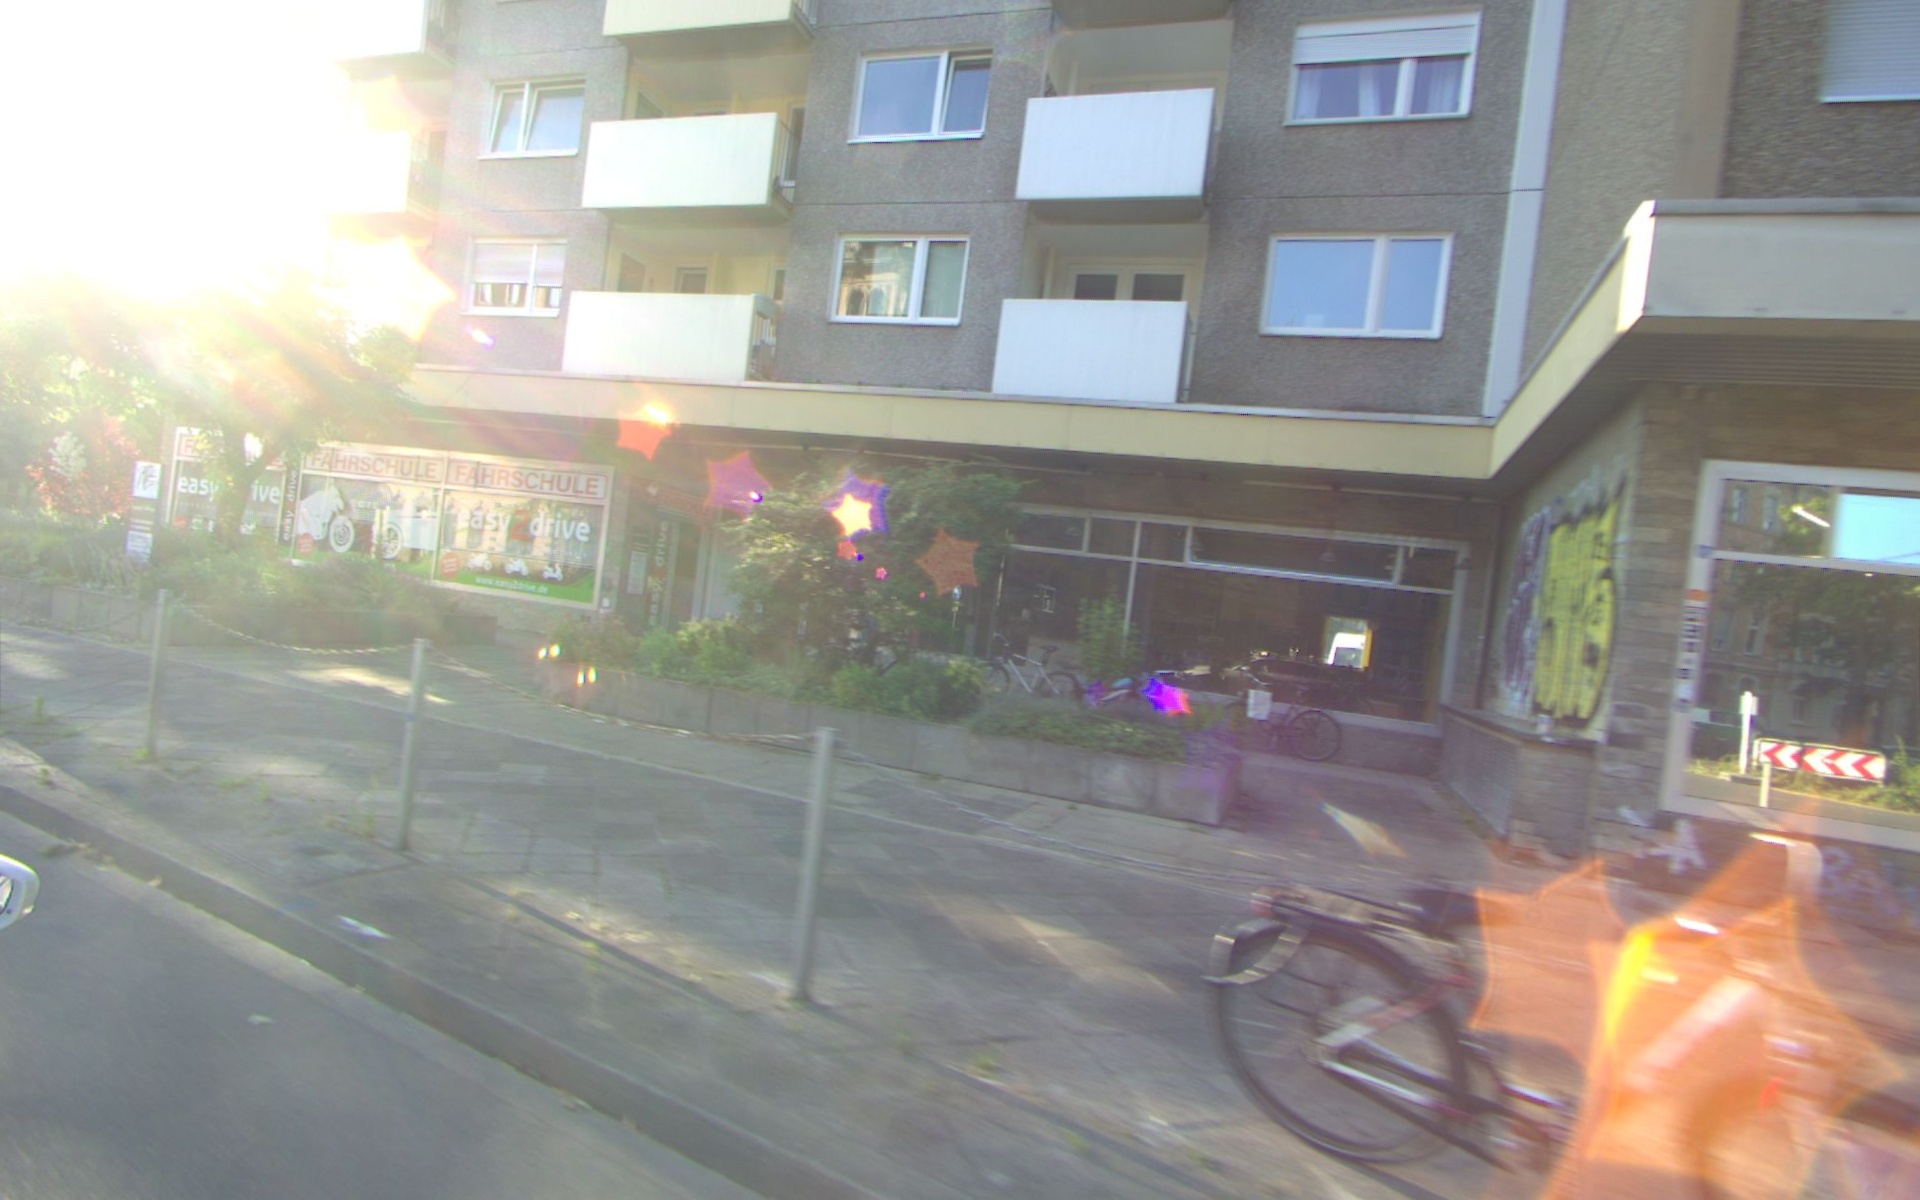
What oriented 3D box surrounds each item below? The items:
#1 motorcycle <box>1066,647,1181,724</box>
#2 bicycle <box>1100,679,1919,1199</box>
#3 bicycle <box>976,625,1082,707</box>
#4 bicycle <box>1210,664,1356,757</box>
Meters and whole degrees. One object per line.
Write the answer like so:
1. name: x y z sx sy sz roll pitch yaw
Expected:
1. motorcycle: 2.126 1.103 13.095 1.342 0.805 0.433 7 1 19
2. bicycle: 1.427 0.958 2.423 2.060 1.241 0.637 7 1 44
3. bicycle: 0.960 0.903 13.923 1.300 0.954 0.433 7 1 19
4. bicycle: 4.052 1.366 12.678 1.621 0.910 0.644 7 1 19
